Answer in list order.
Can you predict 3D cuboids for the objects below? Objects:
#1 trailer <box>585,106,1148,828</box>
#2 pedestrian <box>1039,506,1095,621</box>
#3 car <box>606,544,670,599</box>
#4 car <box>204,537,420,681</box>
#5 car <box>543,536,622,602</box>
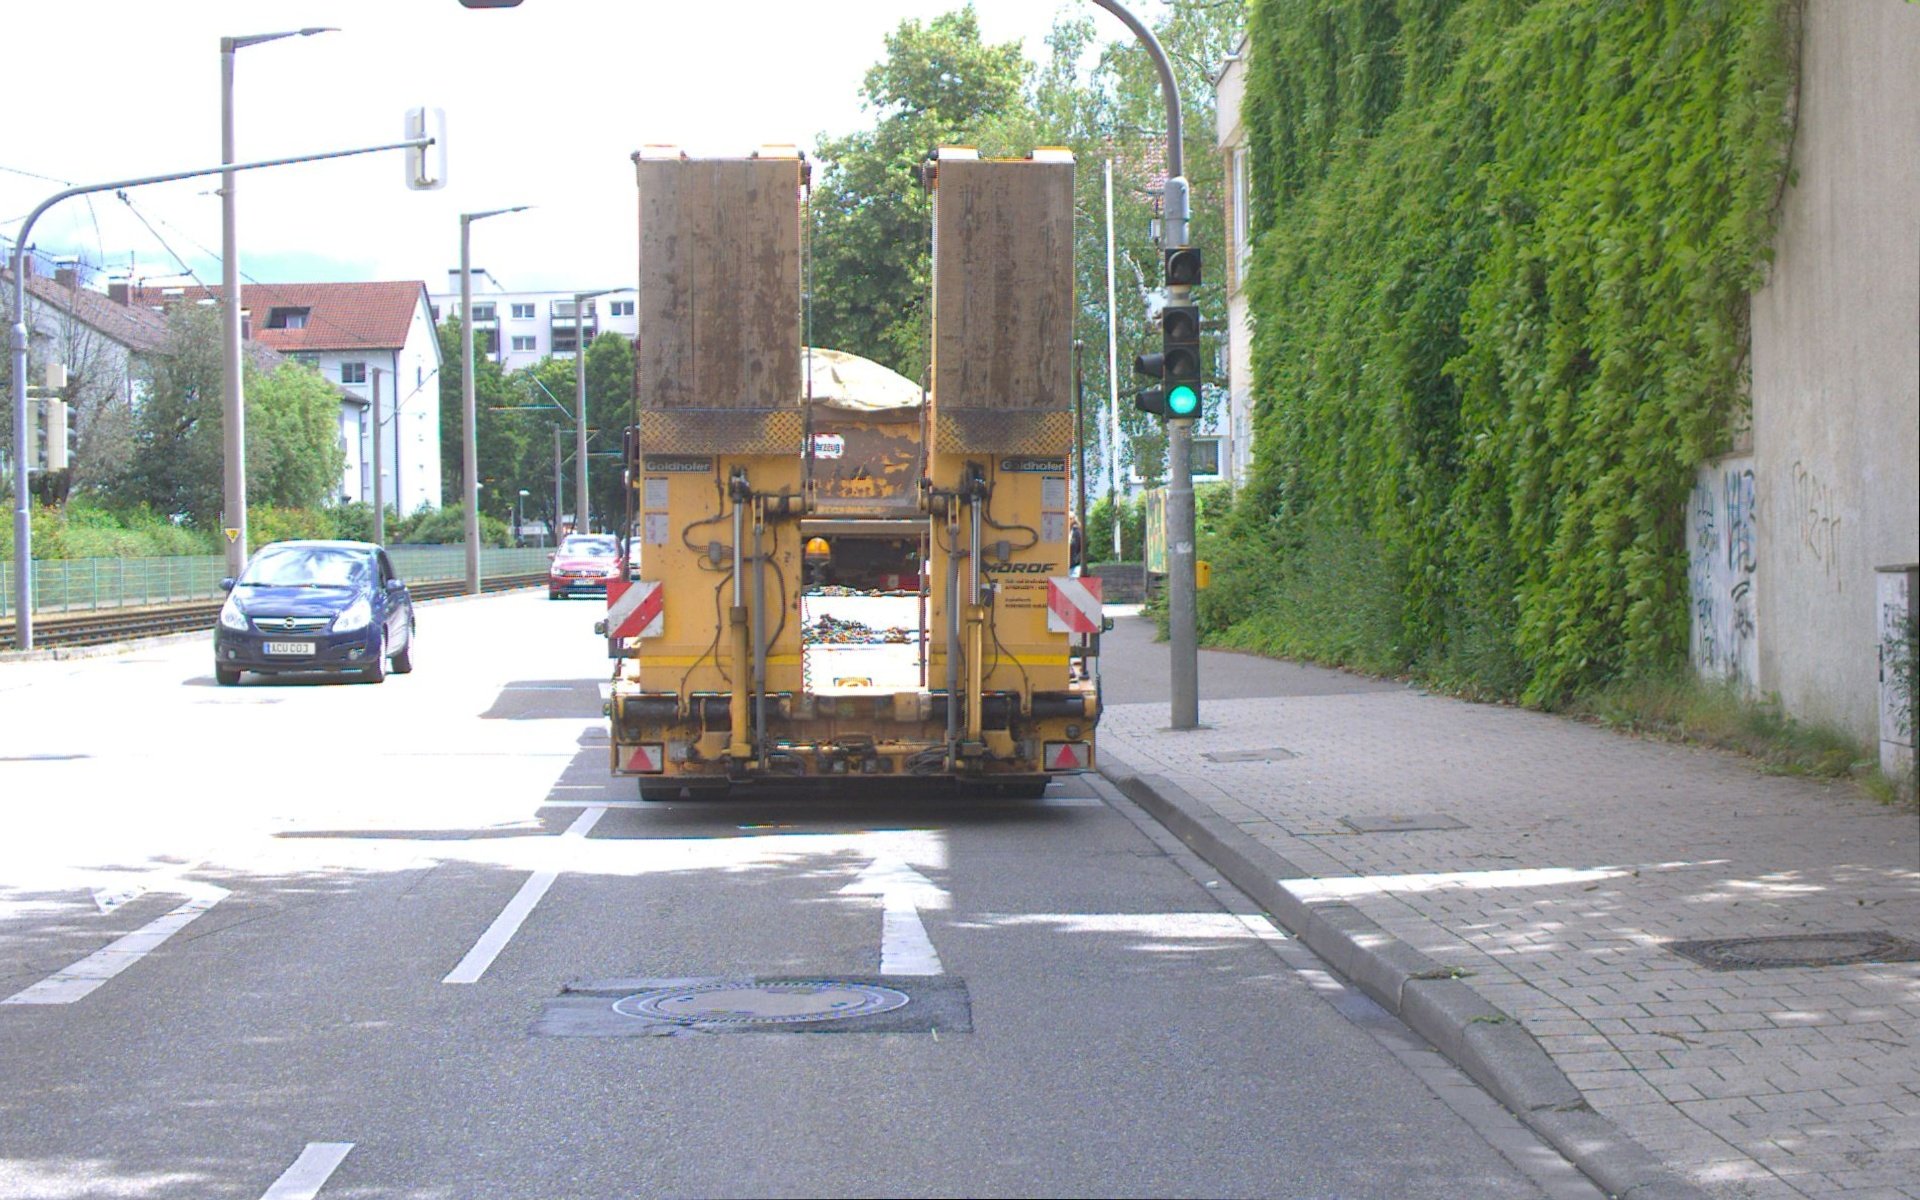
[{"bbox_3d":[-1.041,-0.758,23.676,2.827,3.633,12.356,1,1,-5],"label":"trailer"},{"bbox_3d":[1.657,-0.568,53.330,0.809,1.765,0.816,1,1,4],"label":"pedestrian"},{"bbox_3d":[-9.258,-0.838,98.995,1.760,1.546,4.001,0,1,-4],"label":"car"},{"bbox_3d":[-6.783,0.067,36.323,1.717,1.436,4.009,0,1,-3],"label":"car"},{"bbox_3d":[-9.138,-0.767,83.439,1.663,1.546,4.001,1,1,-3],"label":"car"}]
